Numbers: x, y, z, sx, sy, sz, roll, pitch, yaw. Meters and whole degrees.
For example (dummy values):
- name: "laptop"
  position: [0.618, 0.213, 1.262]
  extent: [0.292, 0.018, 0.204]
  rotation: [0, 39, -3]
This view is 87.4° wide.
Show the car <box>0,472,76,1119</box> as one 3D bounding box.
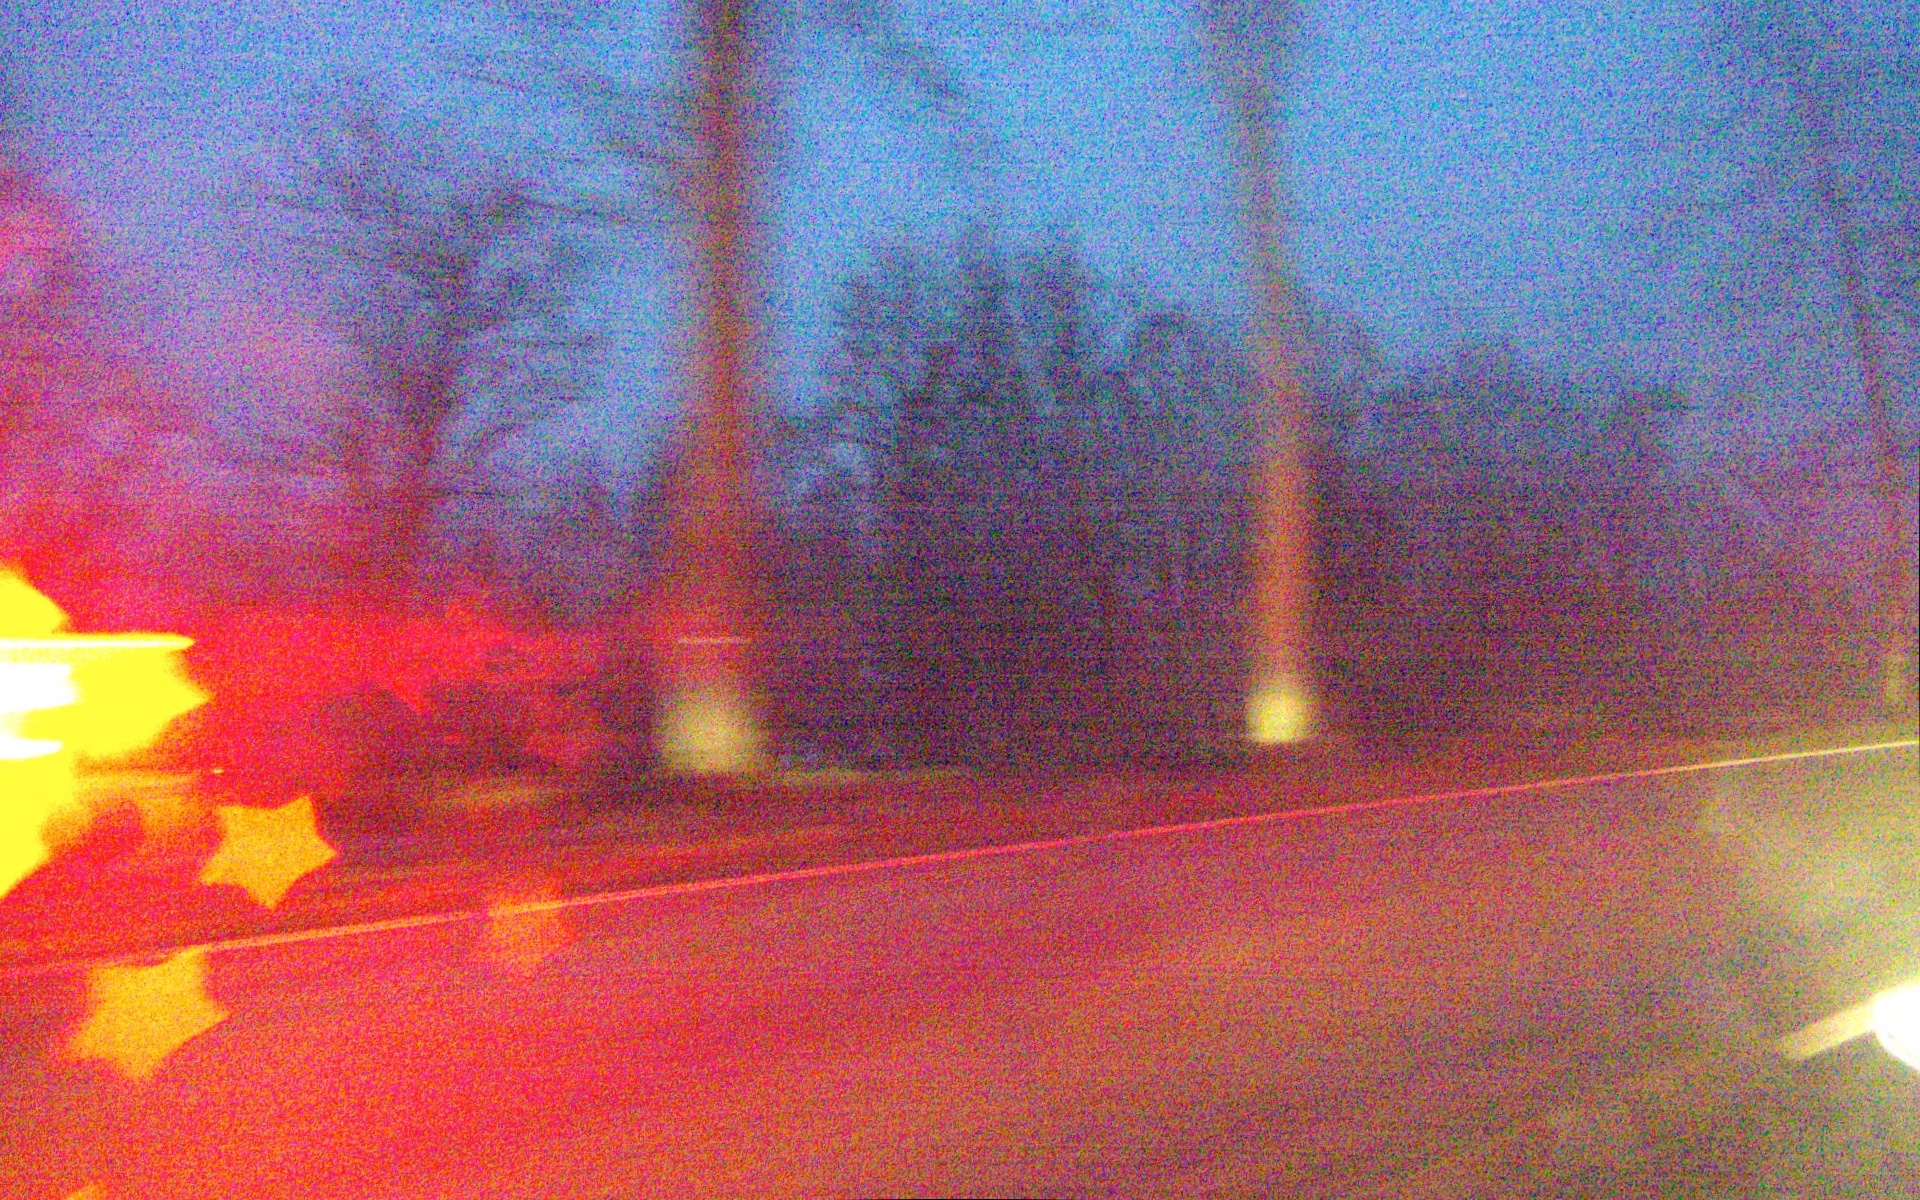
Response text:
- name: "car"
  position: [-4.163, 0.510, 1.525]
  extent: [3.913, 1.743, 1.834]
  rotation: [1, -1, -30]
